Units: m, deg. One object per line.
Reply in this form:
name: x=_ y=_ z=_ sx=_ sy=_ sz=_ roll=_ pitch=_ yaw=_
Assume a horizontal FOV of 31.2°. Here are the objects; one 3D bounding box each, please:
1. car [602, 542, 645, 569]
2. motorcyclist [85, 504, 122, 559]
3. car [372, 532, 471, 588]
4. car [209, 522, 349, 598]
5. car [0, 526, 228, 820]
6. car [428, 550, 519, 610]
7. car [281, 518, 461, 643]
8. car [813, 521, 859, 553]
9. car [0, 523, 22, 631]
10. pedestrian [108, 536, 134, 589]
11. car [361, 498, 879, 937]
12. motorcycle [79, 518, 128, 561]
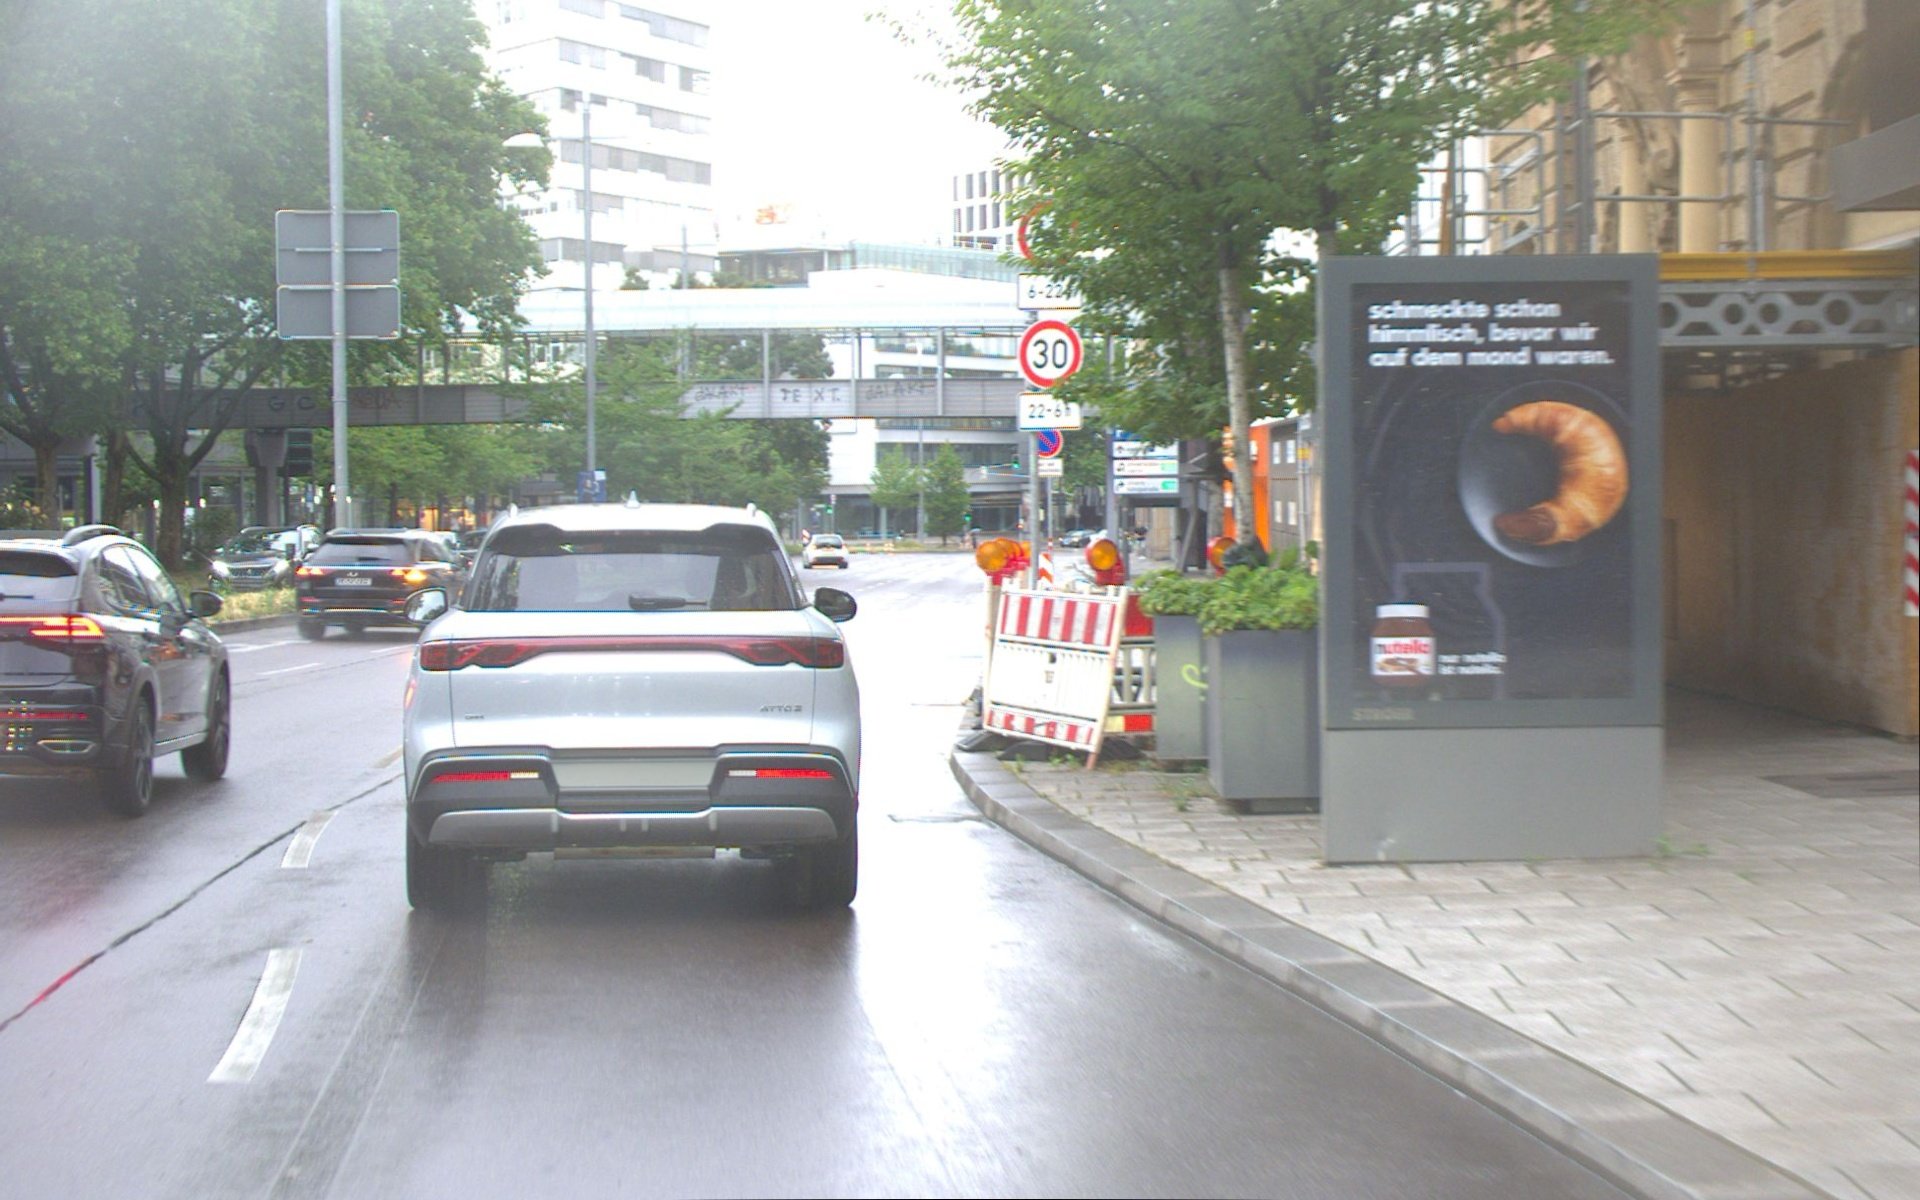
car: x=-17.363 y=-2.300 z=177.331 sx=1.597 sy=1.355 sz=4.116 roll=0 pitch=0 yaw=3
motorcyclist: x=-19.392 y=-1.553 z=77.853 sx=0.674 sy=1.234 sz=0.619 roll=1 pitch=1 yaw=2
car: x=-13.342 y=-0.987 z=85.410 sx=1.597 sy=1.355 sz=4.116 roll=0 pitch=0 yaw=3
car: x=-13.243 y=-0.763 z=67.073 sx=1.700 sy=1.432 sz=4.582 roll=0 pitch=0 yaw=1
car: x=-5.175 y=0.349 z=18.946 sx=1.773 sy=1.452 sz=4.001 roll=0 pitch=0 yaw=-5
car: x=-13.968 y=-0.570 z=98.943 sx=1.874 sy=1.674 sz=4.681 roll=0 pitch=0 yaw=1
car: x=-7.806 y=-0.285 z=45.866 sx=1.811 sy=1.573 sz=4.001 roll=1 pitch=1 yaw=-2
car: x=-5.320 y=-2.718 z=148.305 sx=1.653 sy=1.337 sz=4.000 roll=1 pitch=1 yaw=3
car: x=-13.852 y=-0.296 z=44.700 sx=1.860 sy=1.437 sz=4.312 roll=0 pitch=0 yaw=4
pedestrian: x=-28.680 y=-1.285 z=117.472 sx=0.722 sy=1.801 sz=0.618 roll=0 pitch=1 yaw=1
car: x=-1.465 y=0.401 z=14.893 sx=1.901 sy=1.616 sz=4.001 roll=1 pitch=1 yaw=-6
motorcycle: x=-19.403 y=-1.374 z=77.916 sx=0.694 sy=0.966 sz=1.396 roll=1 pitch=1 yaw=2
